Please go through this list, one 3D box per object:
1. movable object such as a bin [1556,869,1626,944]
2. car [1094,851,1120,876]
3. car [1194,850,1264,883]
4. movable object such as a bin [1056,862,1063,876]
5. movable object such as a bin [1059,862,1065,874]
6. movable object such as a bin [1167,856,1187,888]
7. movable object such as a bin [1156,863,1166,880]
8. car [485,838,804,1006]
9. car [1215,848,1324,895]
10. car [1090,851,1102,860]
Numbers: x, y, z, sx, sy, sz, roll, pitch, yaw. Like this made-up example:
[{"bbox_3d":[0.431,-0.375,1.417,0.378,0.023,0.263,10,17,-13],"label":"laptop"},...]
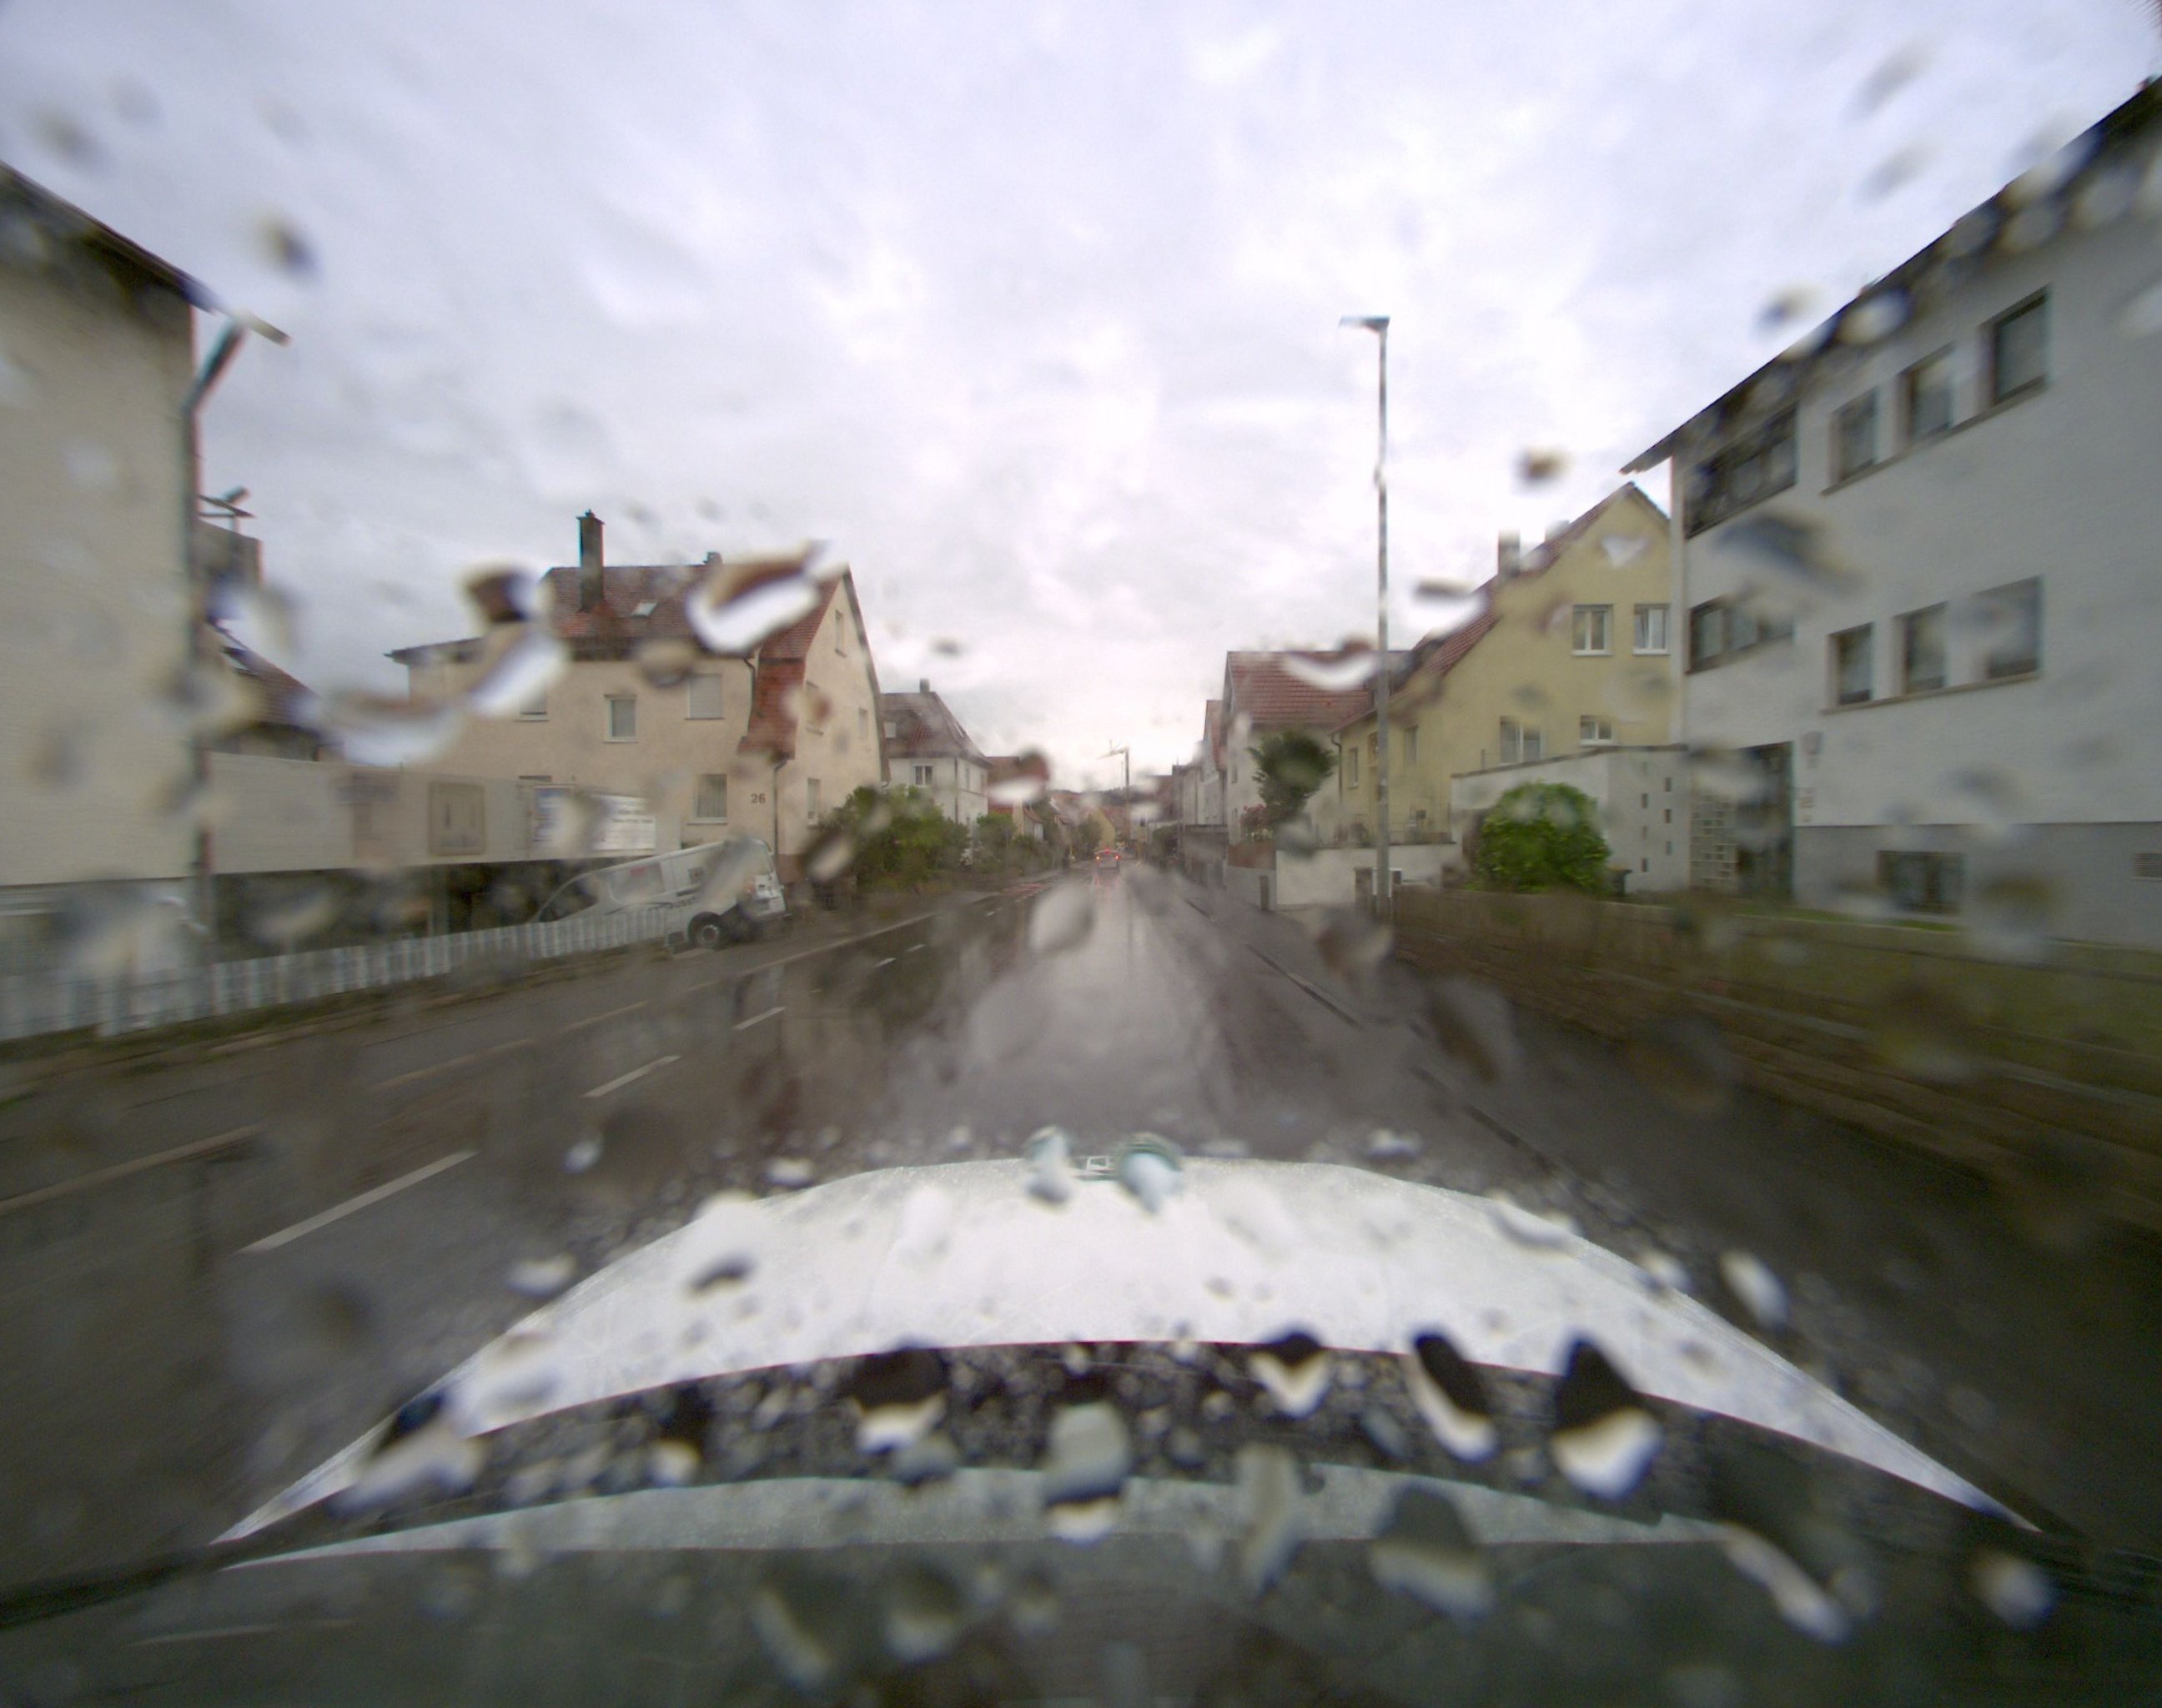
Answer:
[{"bbox_3d":[7.780,0.788,12.446,0.647,1.073,0.629,1,2,2],"label":"movable object such as a bin"},{"bbox_3d":[2.277,0.770,69.114,2.108,1.887,4.506,1,3,3],"label":"car"},{"bbox_3d":[7.614,0.624,42.126,3.361,1.562,1.516,1,2,1],"label":"car"},{"bbox_3d":[-2.181,1.539,83.213,0.681,1.322,0.639,0,2,-3],"label":"movable object such as a bin"},{"bbox_3d":[-1.956,1.446,83.997,0.681,1.223,0.639,0,2,-3],"label":"movable object such as a bin"},{"bbox_3d":[4.047,0.762,34.333,0.742,1.279,0.883,-1,2,3],"label":"movable object such as a bin"},{"bbox_3d":[6.040,1.322,61.471,0.781,1.277,0.715,1,2,6],"label":"movable object such as a bin"},{"bbox_3d":[-8.091,1.190,15.488,4.539,2.012,2.161,-12,2,1],"label":"car"},{"bbox_3d":[6.669,0.599,29.058,3.481,1.522,1.740,-2,1,1],"label":"car"},{"bbox_3d":[2.860,0.250,158.324,1.832,1.578,4.299,1,3,7],"label":"car"}]
